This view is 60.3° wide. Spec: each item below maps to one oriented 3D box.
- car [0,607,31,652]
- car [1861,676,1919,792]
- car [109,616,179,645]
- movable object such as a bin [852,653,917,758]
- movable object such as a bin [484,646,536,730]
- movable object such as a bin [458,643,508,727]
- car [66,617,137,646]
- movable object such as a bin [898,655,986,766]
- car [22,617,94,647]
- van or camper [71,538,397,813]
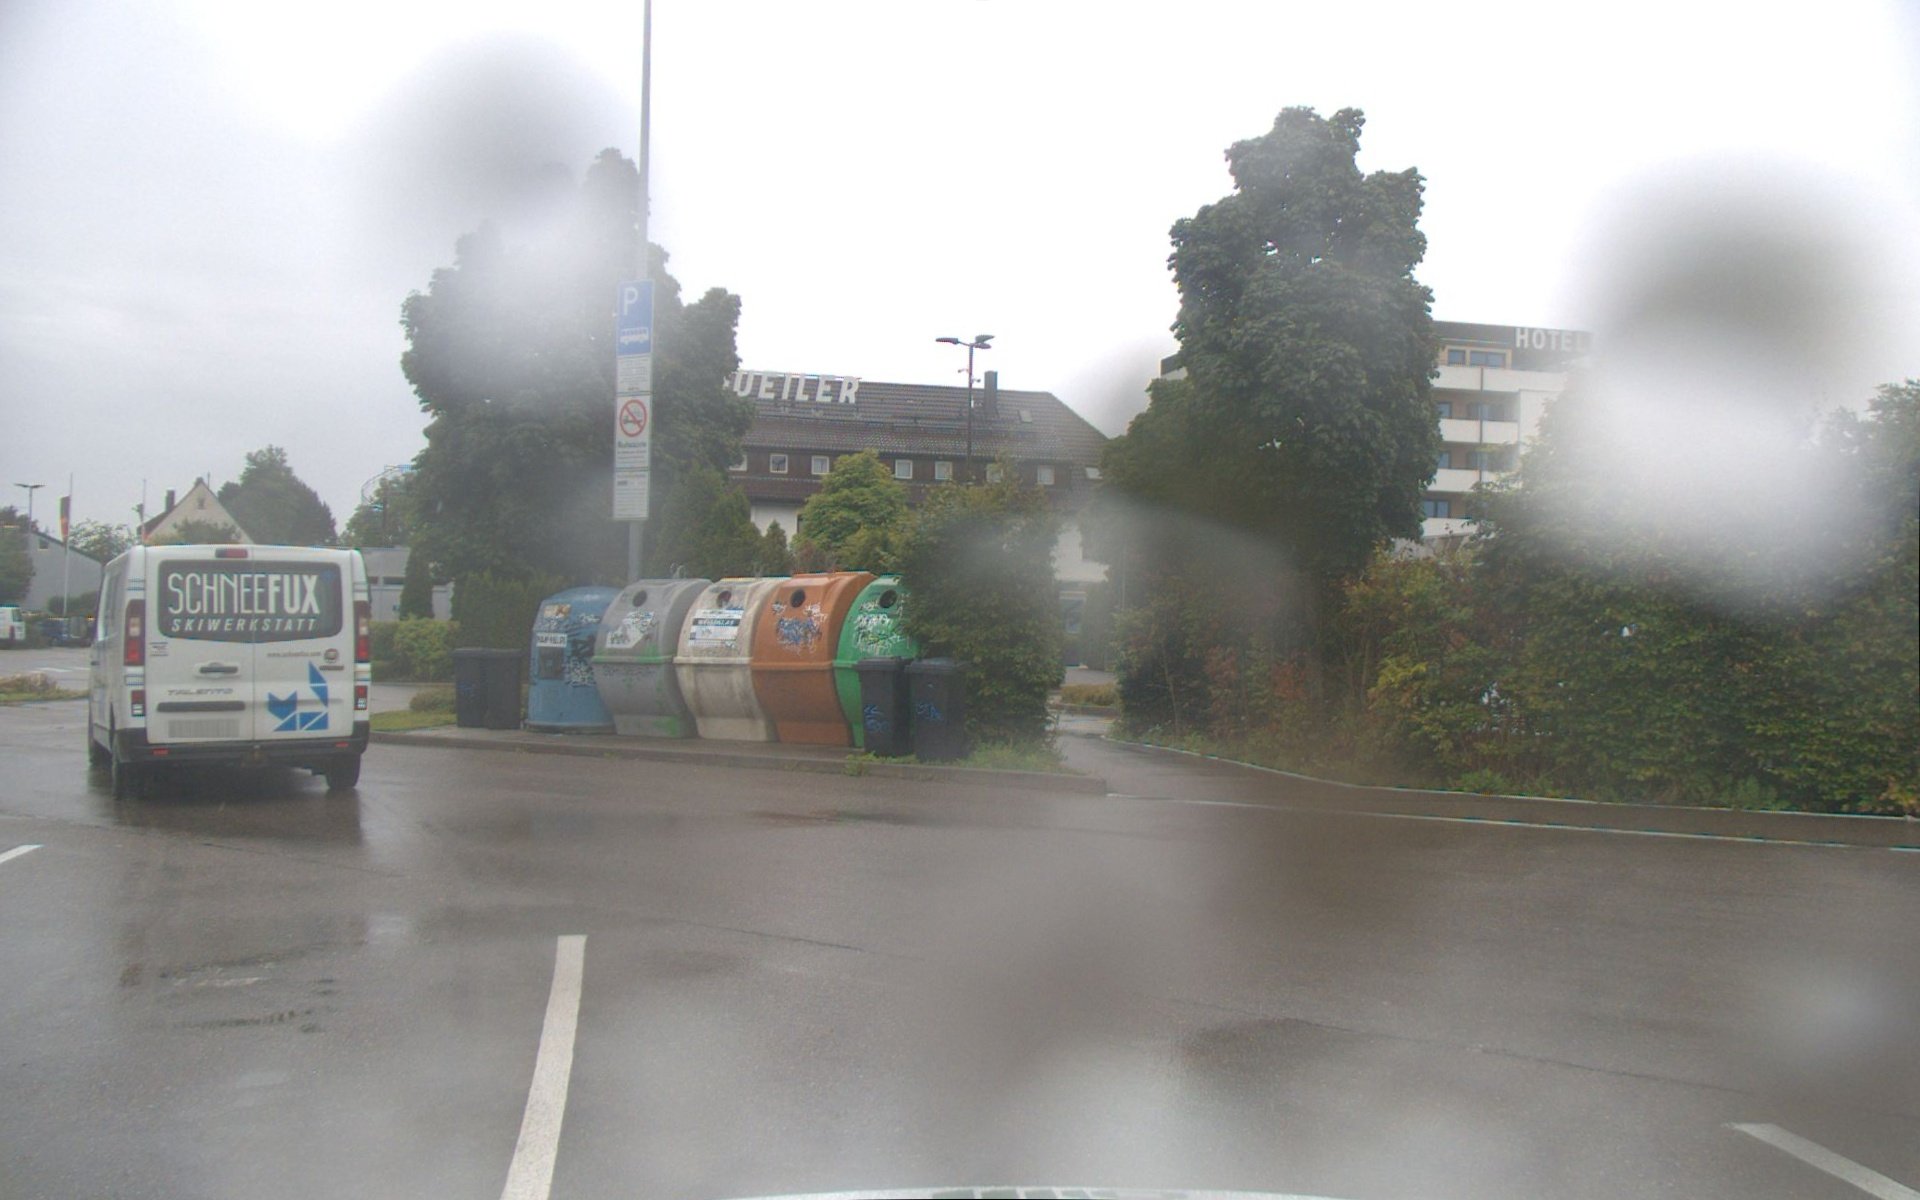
[{"bbox_3d":[-45.536,1.366,76.232,4.446,2.069,1.638,0,-1,-15],"label":"car"},{"bbox_3d":[14.933,1.962,24.941,1.847,1.498,4.751,-1,-1,35],"label":"car"},{"bbox_3d":[-43.647,1.614,88.458,3.599,1.483,1.583,0,0,29],"label":"car"},{"bbox_3d":[-0.701,0.965,15.310,0.487,0.936,0.413,0,-1,-23],"label":"movable object such as a bin"},{"bbox_3d":[-5.201,1.007,19.116,0.444,0.933,0.483,0,-1,-34],"label":"movable object such as a bin"},{"bbox_3d":[-5.618,0.996,19.469,0.444,0.955,0.483,0,-1,-34],"label":"movable object such as a bin"},{"bbox_3d":[-44.979,1.624,86.620,3.599,1.483,1.583,0,0,29],"label":"car"},{"bbox_3d":[-0.164,0.966,14.652,0.620,0.936,0.553,0,-1,-23],"label":"movable object such as a bin"},{"bbox_3d":[-45.786,1.588,83.931,3.599,1.483,1.553,0,0,29],"label":"car"},{"bbox_3d":[-6.624,0.579,14.715,2.164,1.979,5.145,0,-1,-29],"label":"van or camper"}]
